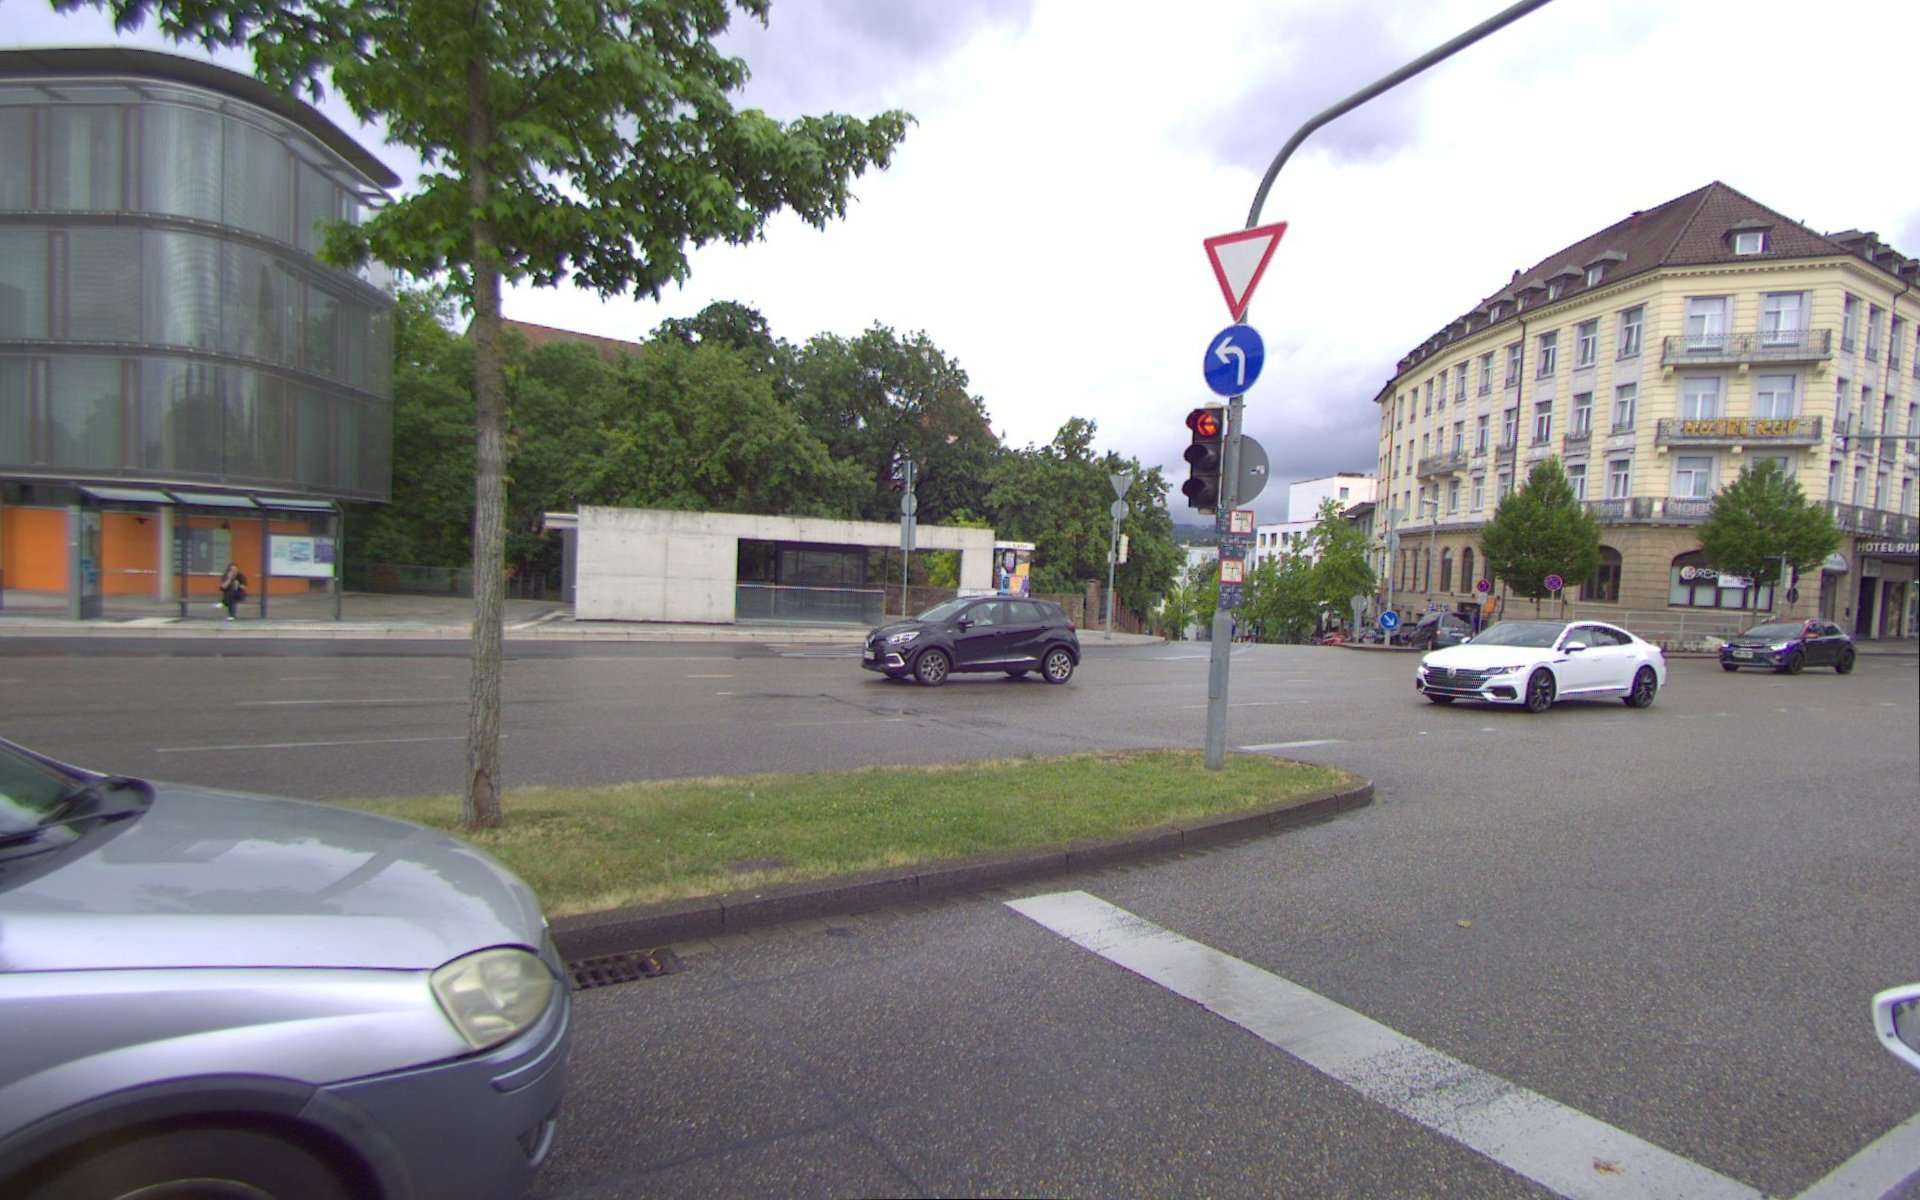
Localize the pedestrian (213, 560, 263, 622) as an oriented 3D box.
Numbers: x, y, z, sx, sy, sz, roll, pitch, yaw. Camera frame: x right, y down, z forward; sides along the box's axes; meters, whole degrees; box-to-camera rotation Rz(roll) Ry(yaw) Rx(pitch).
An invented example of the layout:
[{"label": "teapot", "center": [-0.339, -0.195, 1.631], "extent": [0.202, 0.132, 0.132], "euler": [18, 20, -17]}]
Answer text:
[{"label": "pedestrian", "center": [-16.076, -0.195, 22.387], "extent": [0.780, 1.341, 0.798], "euler": [1, 1, -28]}]

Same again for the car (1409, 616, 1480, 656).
[{"label": "car", "center": [21.741, 1.573, 45.199], "extent": [1.764, 1.589, 4.002], "euler": [2, 1, 9]}]

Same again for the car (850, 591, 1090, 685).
[{"label": "car", "center": [0.189, 0.677, 18.415], "extent": [4.025, 1.551, 1.765], "euler": [2, 1, -27]}]

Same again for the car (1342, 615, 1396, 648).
[{"label": "car", "center": [23.167, 1.769, 57.004], "extent": [1.757, 1.662, 3.916], "euler": [2, 1, 6]}]

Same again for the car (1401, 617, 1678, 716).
[{"label": "car", "center": [9.592, 1.001, 16.530], "extent": [4.800, 1.400, 1.716], "euler": [1, 1, -29]}]

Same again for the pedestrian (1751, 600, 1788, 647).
[{"label": "pedestrian", "center": [33.429, 0.956, 41.483], "extent": [1.010, 1.903, 0.859], "euler": [1, 1, -30]}]

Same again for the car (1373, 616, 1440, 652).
[{"label": "car", "center": [22.913, 1.714, 51.706], "extent": [1.959, 1.662, 4.002], "euler": [2, 0, 6]}]

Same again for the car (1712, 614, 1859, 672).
[{"label": "car", "center": [23.332, 1.195, 28.390], "extent": [3.971, 1.496, 1.626], "euler": [1, 1, -25]}]

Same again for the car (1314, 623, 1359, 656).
[{"label": "car", "center": [23.590, 2.473, 63.058], "extent": [1.741, 1.836, 3.624], "euler": [2, 1, 7]}]

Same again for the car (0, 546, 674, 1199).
[{"label": "car", "center": [-2.546, 0.621, 1.646], "extent": [3.693, 1.478, 1.614], "euler": [2, 1, -32]}]
